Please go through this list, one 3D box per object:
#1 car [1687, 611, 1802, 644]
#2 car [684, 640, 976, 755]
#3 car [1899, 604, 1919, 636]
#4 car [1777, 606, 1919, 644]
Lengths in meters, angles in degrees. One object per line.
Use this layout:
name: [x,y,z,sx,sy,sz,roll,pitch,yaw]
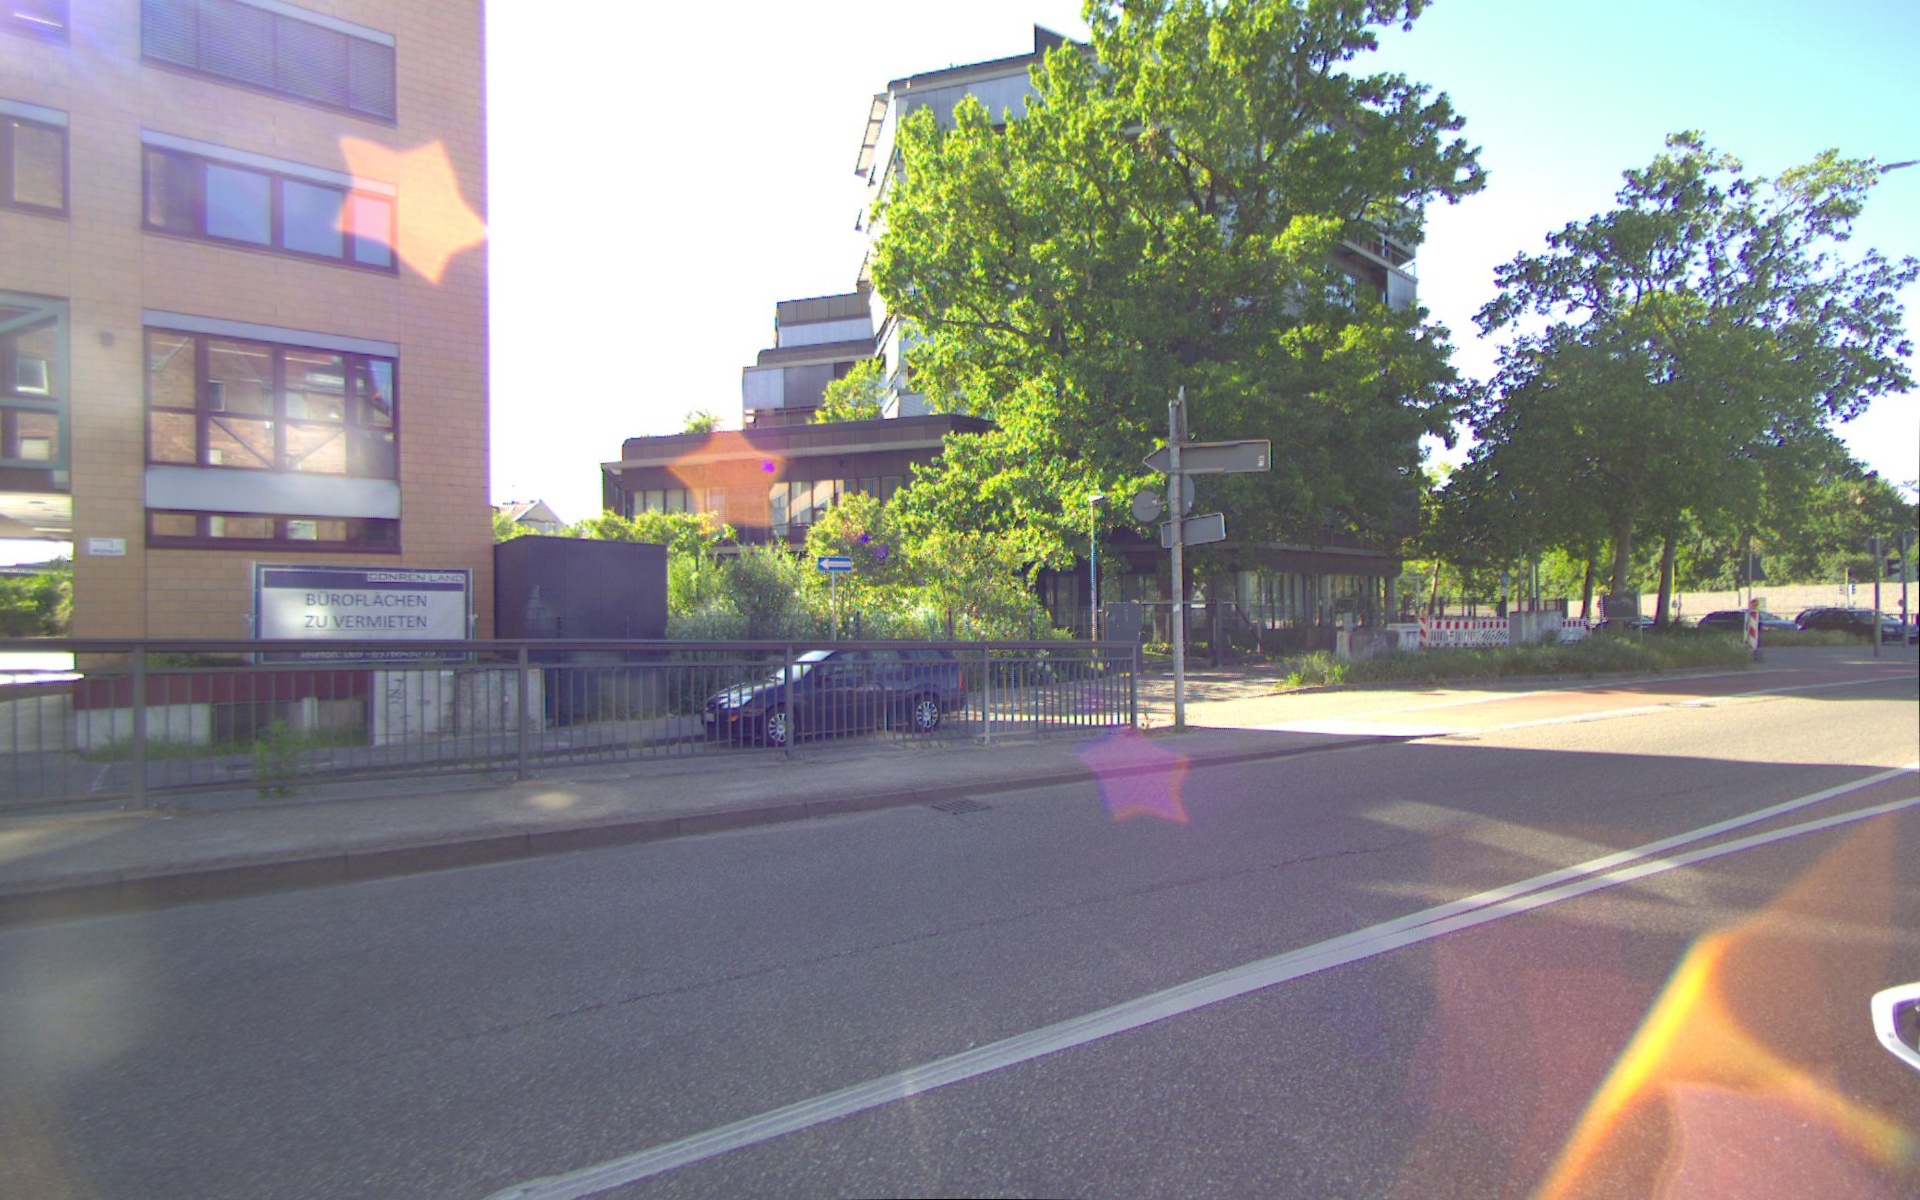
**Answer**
car: [36.993,1.288,47.535,1.791,1.458,4.450,-1,-1,-3]
car: [-2.065,1.480,16.429,4.404,1.523,1.809,0,-1,-34]
car: [45.201,0.881,44.996,1.792,1.458,4.447,-1,-1,-7]
car: [36.215,1.016,41.090,1.791,1.458,4.450,-1,-1,-3]
